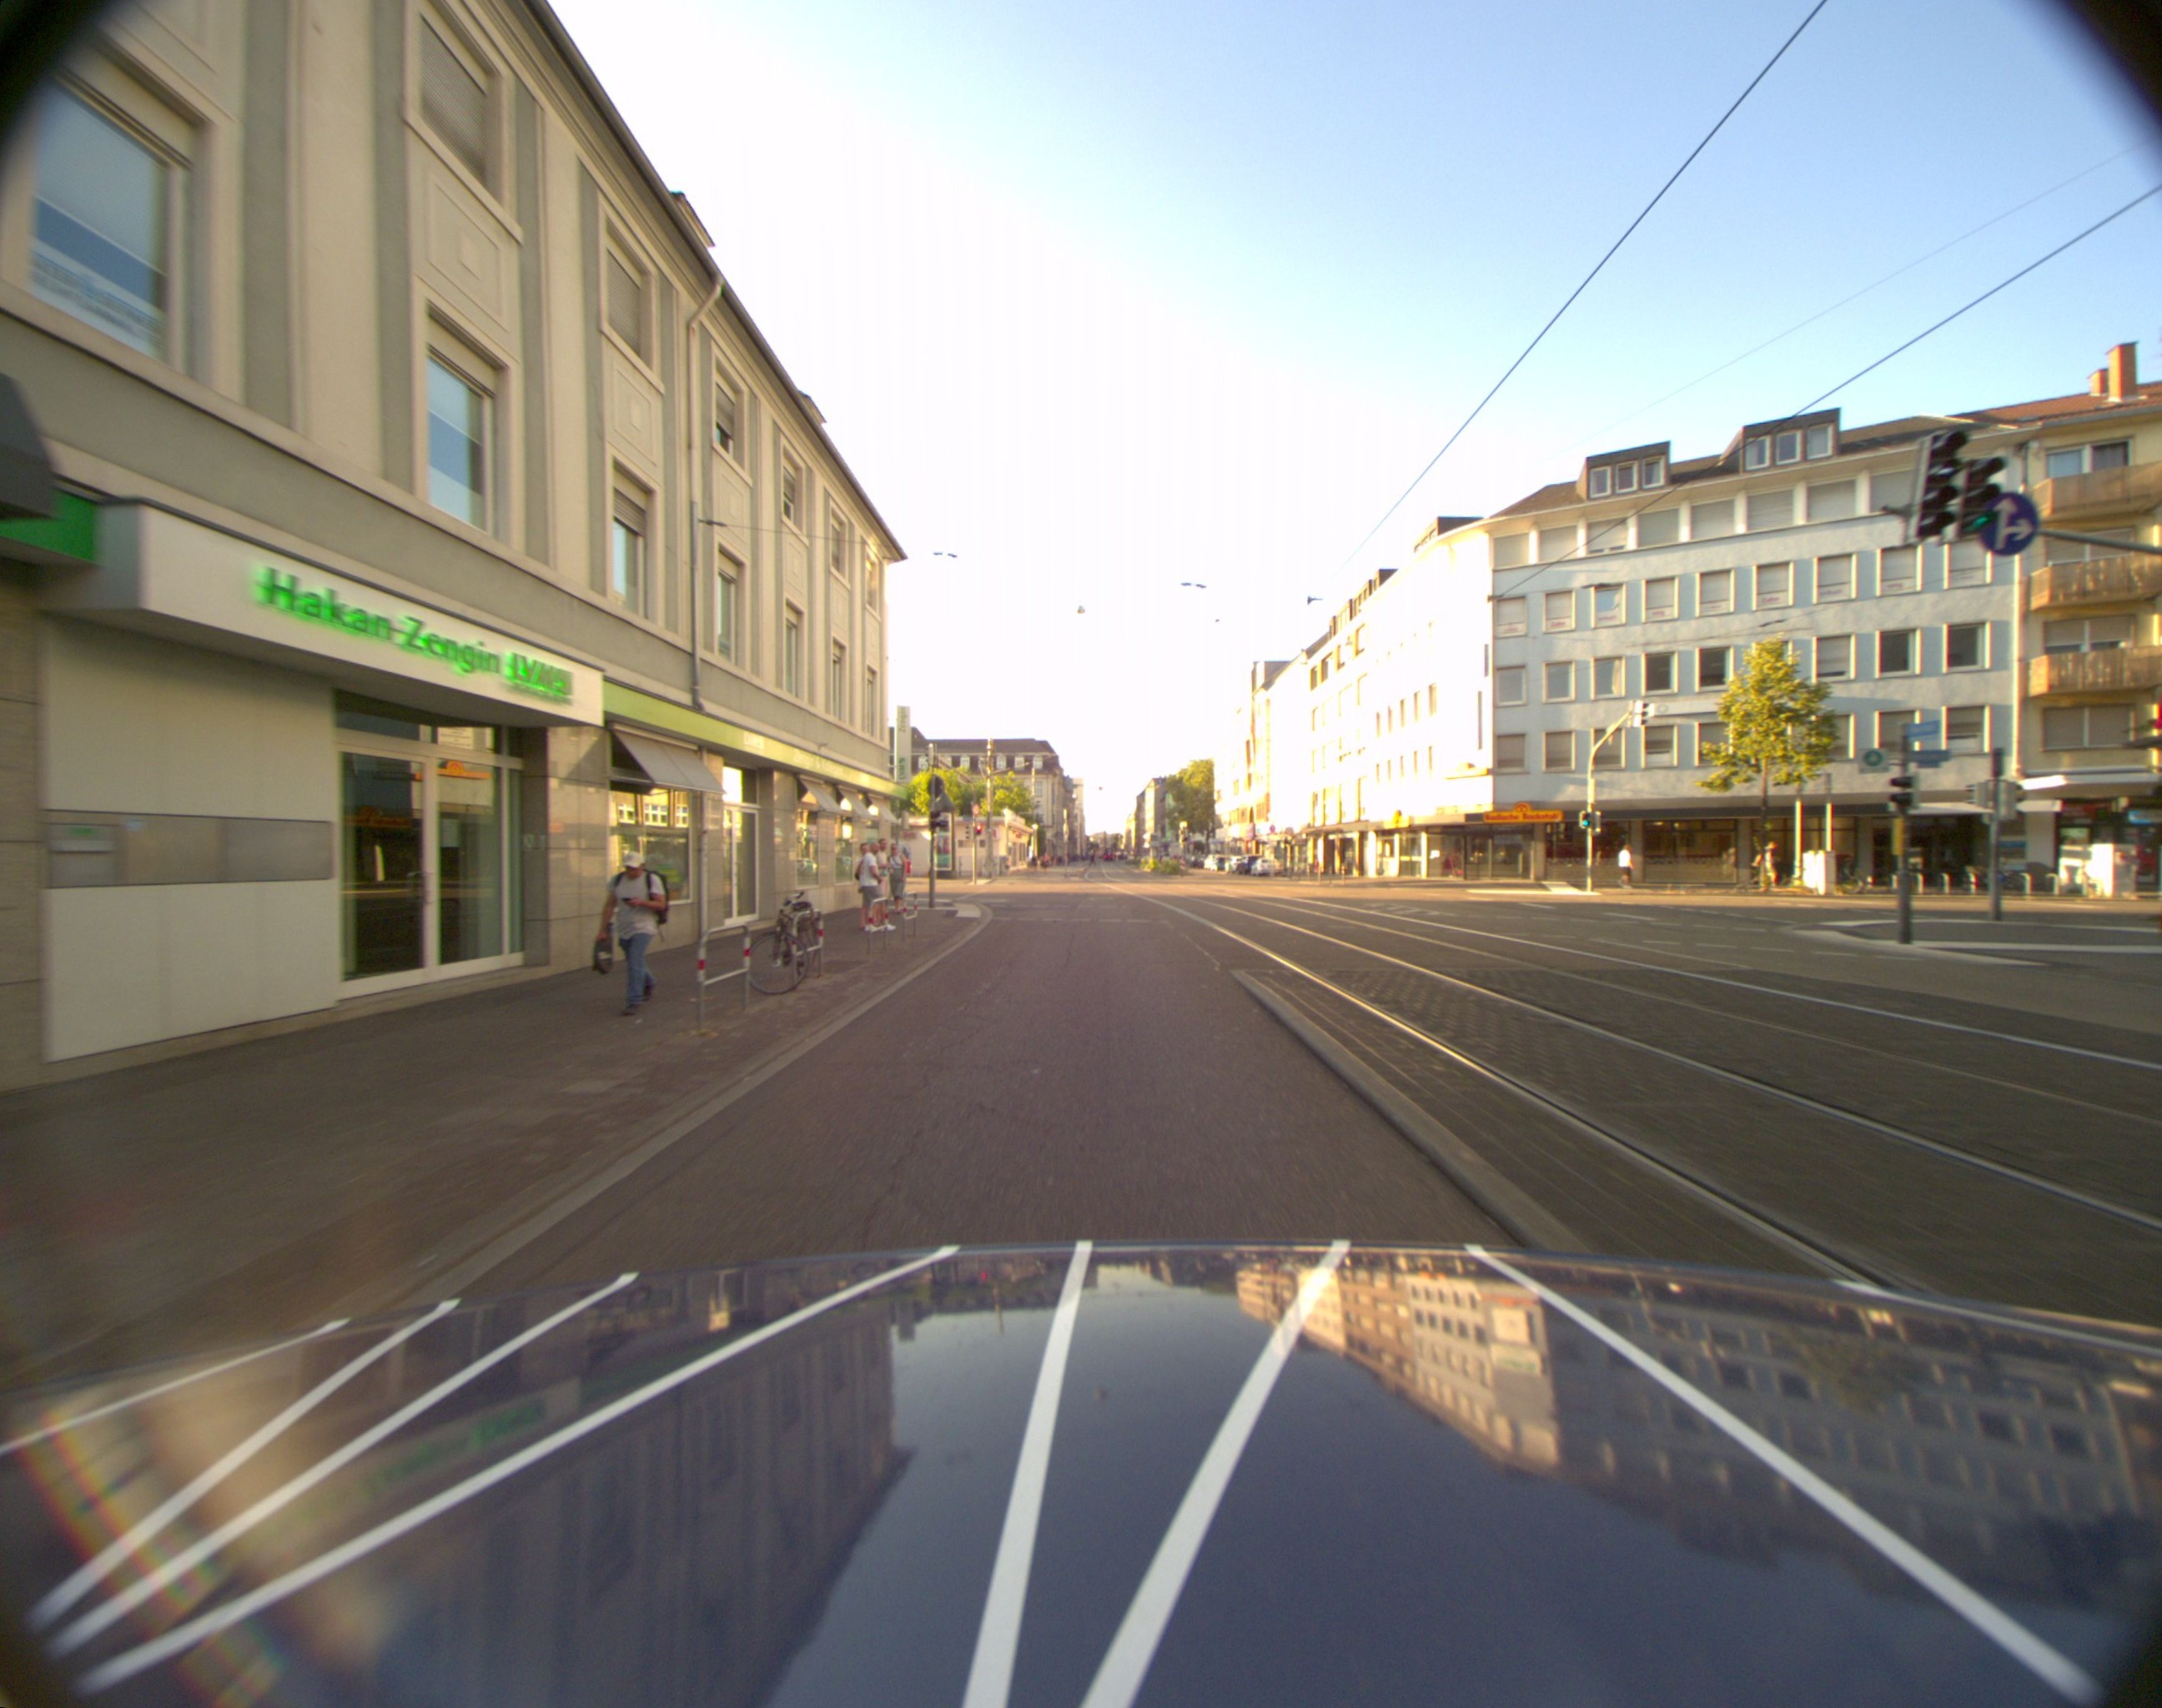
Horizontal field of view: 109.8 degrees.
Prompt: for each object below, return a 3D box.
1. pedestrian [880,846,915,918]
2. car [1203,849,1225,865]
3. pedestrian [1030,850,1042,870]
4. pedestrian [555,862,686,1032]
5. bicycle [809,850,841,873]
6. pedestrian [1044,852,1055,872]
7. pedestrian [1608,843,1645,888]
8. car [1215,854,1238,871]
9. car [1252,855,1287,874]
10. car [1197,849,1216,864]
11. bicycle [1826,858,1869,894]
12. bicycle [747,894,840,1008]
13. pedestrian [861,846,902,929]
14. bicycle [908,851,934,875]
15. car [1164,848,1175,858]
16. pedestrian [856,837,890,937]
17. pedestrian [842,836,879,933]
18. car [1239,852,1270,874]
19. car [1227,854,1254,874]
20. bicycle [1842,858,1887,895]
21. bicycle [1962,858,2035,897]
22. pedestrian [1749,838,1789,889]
[{"bbox_3d":[-4.612,0.689,19.114,0.671,1.768,0.648,0,1,4],"label":"pedestrian"},{"bbox_3d":[13.950,0.270,80.044,1.847,1.625,4.001,0,0,4],"label":"car"},{"bbox_3d":[-3.675,0.503,62.161,0.806,1.603,0.994,-1,2,1],"label":"pedestrian"},{"bbox_3d":[-4.464,0.860,7.424,0.698,1.539,0.870,0,1,4],"label":"pedestrian"},{"bbox_3d":[-17.710,0.505,52.655,0.679,1.514,2.234,0,1,27],"label":"bicycle"},{"bbox_3d":[-2.555,0.617,61.888,0.806,1.603,0.994,-1,2,1],"label":"pedestrian"},{"bbox_3d":[21.712,0.440,30.230,0.808,1.716,0.991,-3,2,-37],"label":"pedestrian"},{"bbox_3d":[14.260,0.832,74.633,1.847,1.625,4.001,0,0,4],"label":"car"},{"bbox_3d":[13.842,0.748,55.895,1.847,1.287,4.001,0,0,4],"label":"car"},{"bbox_3d":[14.277,0.256,86.693,1.847,1.625,4.001,0,0,4],"label":"car"},{"bbox_3d":[26.440,0.742,26.239,0.469,1.196,1.922,0,0,27],"label":"bicycle"},{"bbox_3d":[-3.298,1.067,8.842,0.479,1.083,1.647,1,1,-2],"label":"bicycle"},{"bbox_3d":[-4.244,0.690,16.225,0.639,1.735,0.699,0,1,4],"label":"pedestrian"},{"bbox_3d":[-10.248,0.579,48.766,0.478,1.514,1.995,0,1,26],"label":"bicycle"},{"bbox_3d":[16.195,-0.186,139.412,1.847,1.625,4.001,0,0,4],"label":"car"},{"bbox_3d":[-4.054,0.631,14.824,0.576,1.917,0.496,0,1,-9],"label":"pedestrian"},{"bbox_3d":[-4.432,0.595,15.287,0.640,1.917,0.529,0,1,-10],"label":"pedestrian"},{"bbox_3d":[13.748,0.688,60.450,1.847,1.625,4.001,0,0,4],"label":"car"},{"bbox_3d":[14.013,0.847,66.872,1.847,1.625,4.001,0,0,4],"label":"car"},{"bbox_3d":[26.951,0.751,26.164,0.469,1.196,1.922,0,0,27],"label":"bicycle"},{"bbox_3d":[29.891,0.751,24.790,0.469,1.196,1.921,0,0,15],"label":"bicycle"},{"bbox_3d":[26.317,0.358,29.055,0.808,1.876,0.991,-3,2,-37],"label":"pedestrian"}]
